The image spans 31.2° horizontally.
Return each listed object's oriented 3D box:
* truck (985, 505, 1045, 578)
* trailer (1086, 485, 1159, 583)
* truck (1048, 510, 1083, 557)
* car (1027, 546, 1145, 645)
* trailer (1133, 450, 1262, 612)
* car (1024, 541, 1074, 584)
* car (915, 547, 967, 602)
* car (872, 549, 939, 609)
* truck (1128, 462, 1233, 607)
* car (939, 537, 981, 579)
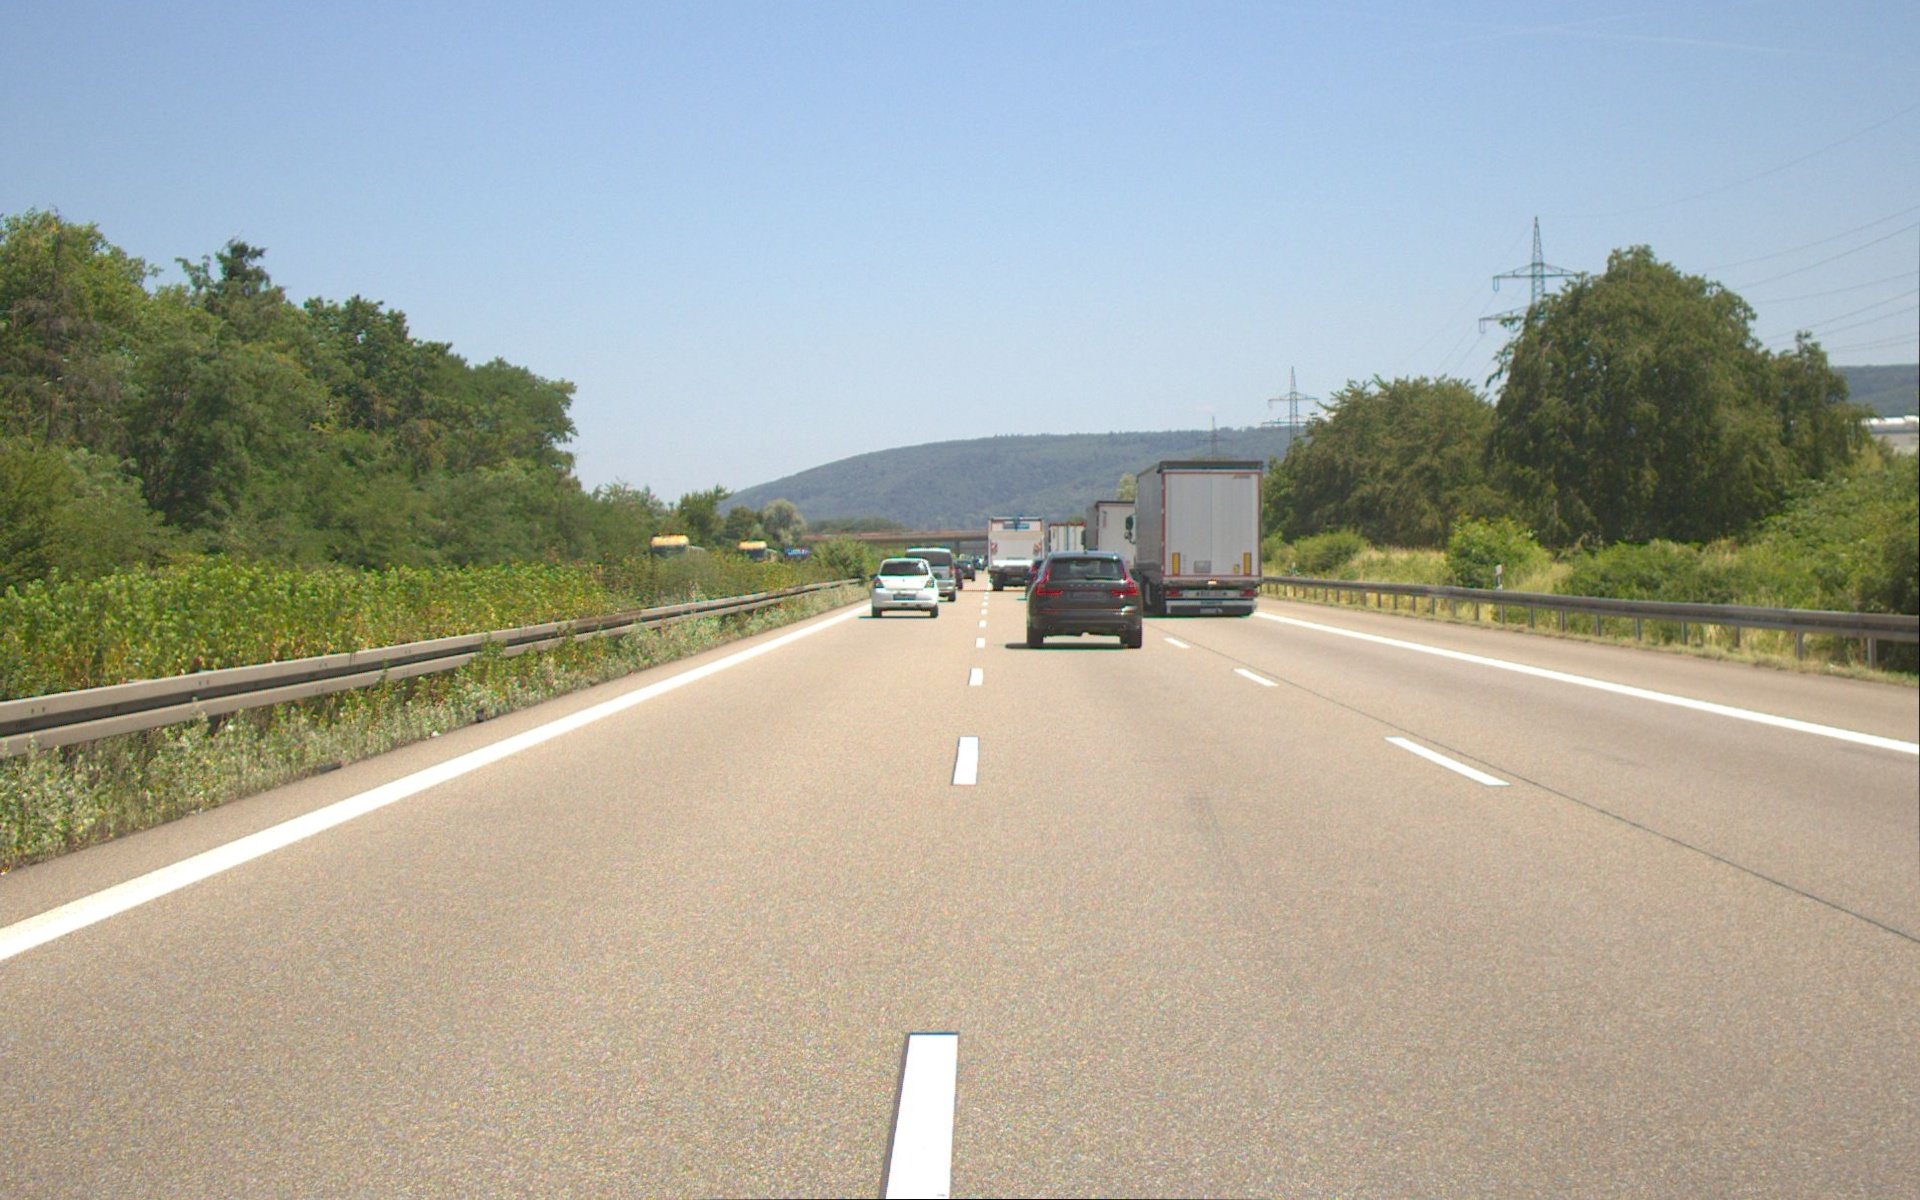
[{"bbox_3d":[2.575,-2.725,162.970,2.782,3.361,8.127,0,0,1],"label":"truck"},{"bbox_3d":[7.302,-2.925,155.756,2.789,4.149,13.574,-2,1,1],"label":"trailer"},{"bbox_3d":[7.519,-4.714,245.346,2.221,3.198,10.384,-1,1,1],"label":"truck"},{"bbox_3d":[2.116,-0.100,58.488,1.873,1.618,4.004,0,1,0],"label":"car"},{"bbox_3d":[6.338,-1.809,93.467,2.736,4.092,13.122,0,1,1],"label":"trailer"},{"bbox_3d":[3.269,-1.389,127.193,1.803,1.540,4.000,0,1,1],"label":"car"},{"bbox_3d":[-0.655,-0.924,121.819,1.761,1.844,4.000,-2,1,0],"label":"car"},{"bbox_3d":[-1.390,-0.552,88.709,1.607,1.462,4.000,-2,1,0],"label":"car"},{"bbox_3d":[6.417,-1.901,100.604,2.736,4.105,6.125,0,1,1],"label":"truck"},{"bbox_3d":[-0.023,-2.054,168.625,1.993,2.007,4.000,-1,1,-1],"label":"car"}]
